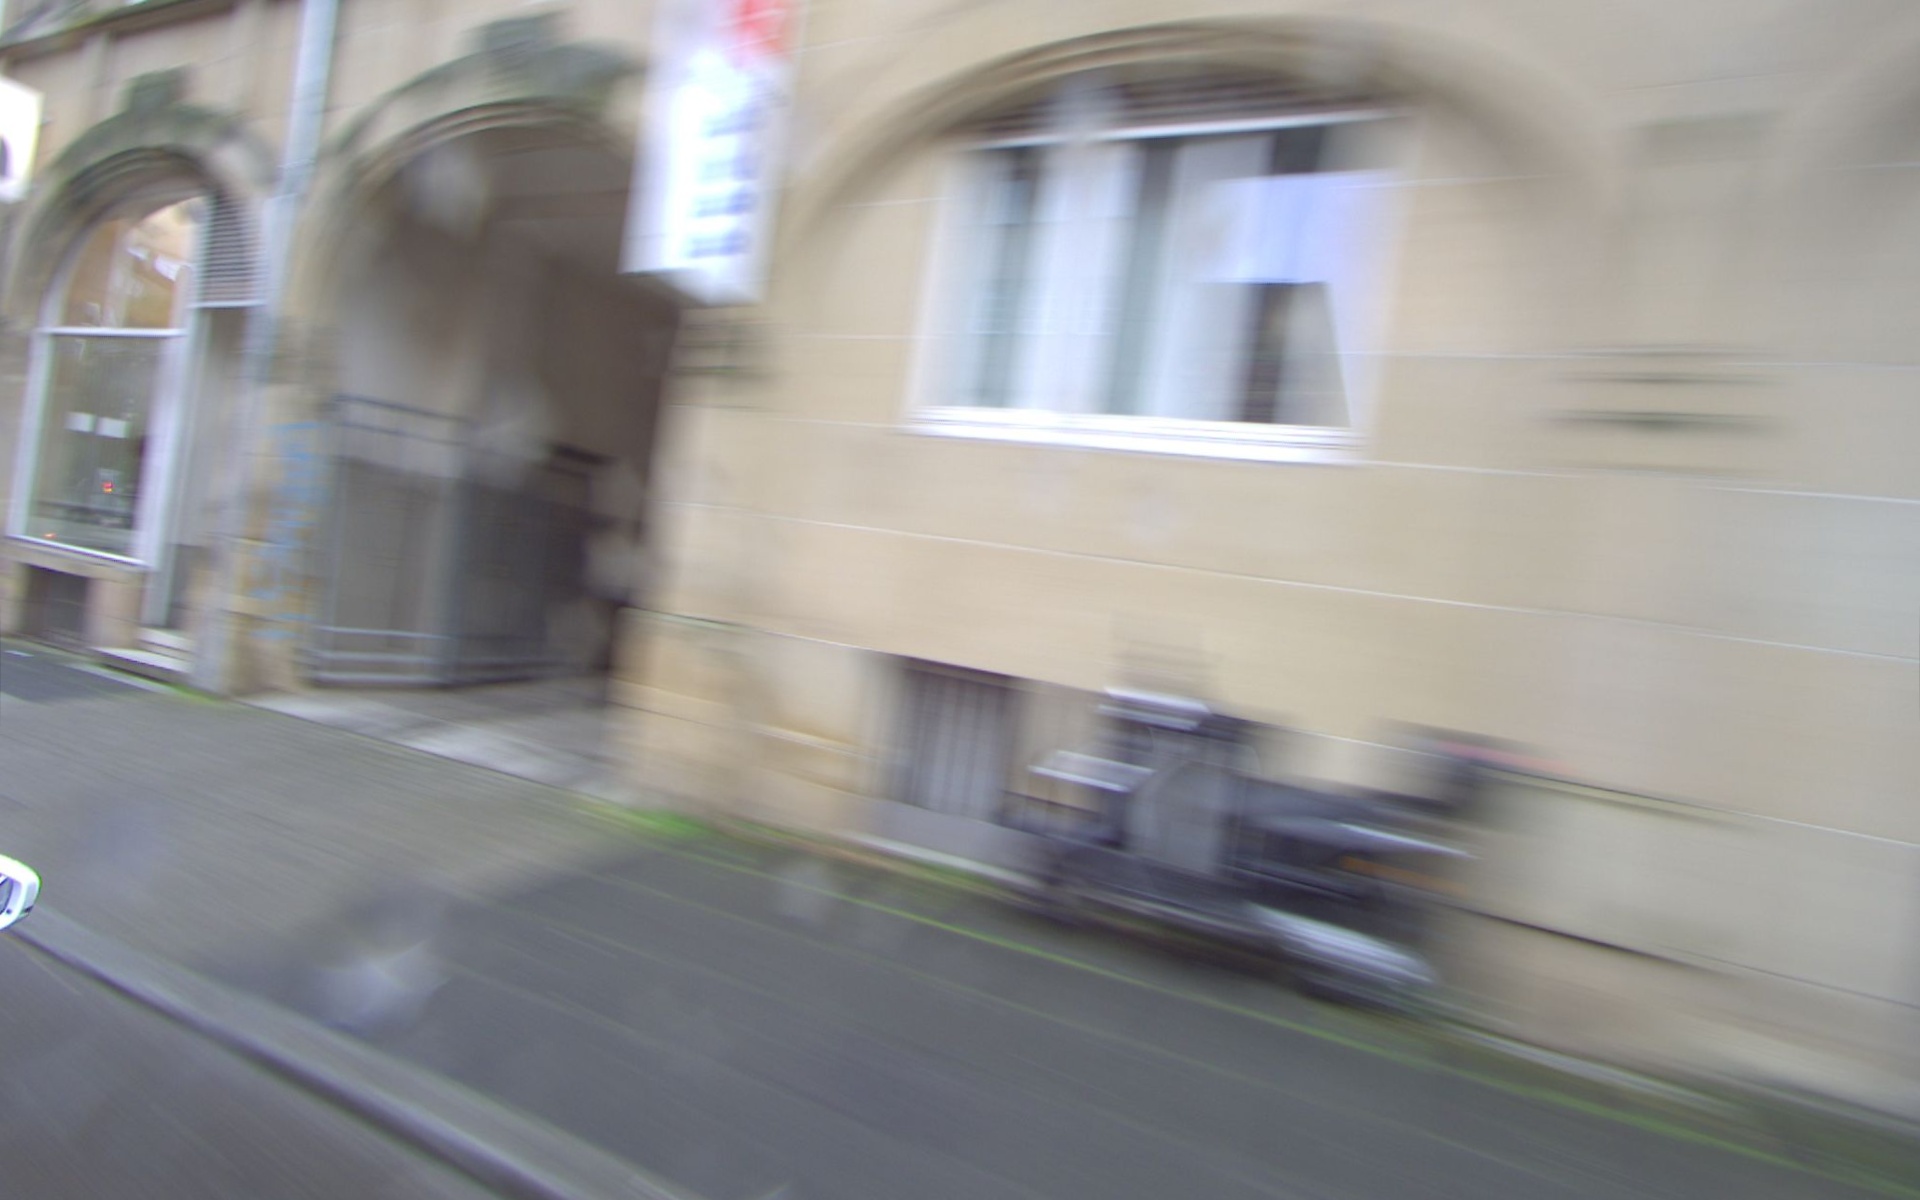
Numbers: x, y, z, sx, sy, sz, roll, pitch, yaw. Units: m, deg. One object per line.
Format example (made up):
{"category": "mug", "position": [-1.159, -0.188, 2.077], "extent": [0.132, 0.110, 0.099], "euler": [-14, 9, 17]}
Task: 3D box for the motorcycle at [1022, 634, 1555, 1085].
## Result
{"category": "motorcycle", "position": [1.232, 0.886, 3.983], "extent": [1.747, 1.255, 0.690], "euler": [7, 5, 26]}
